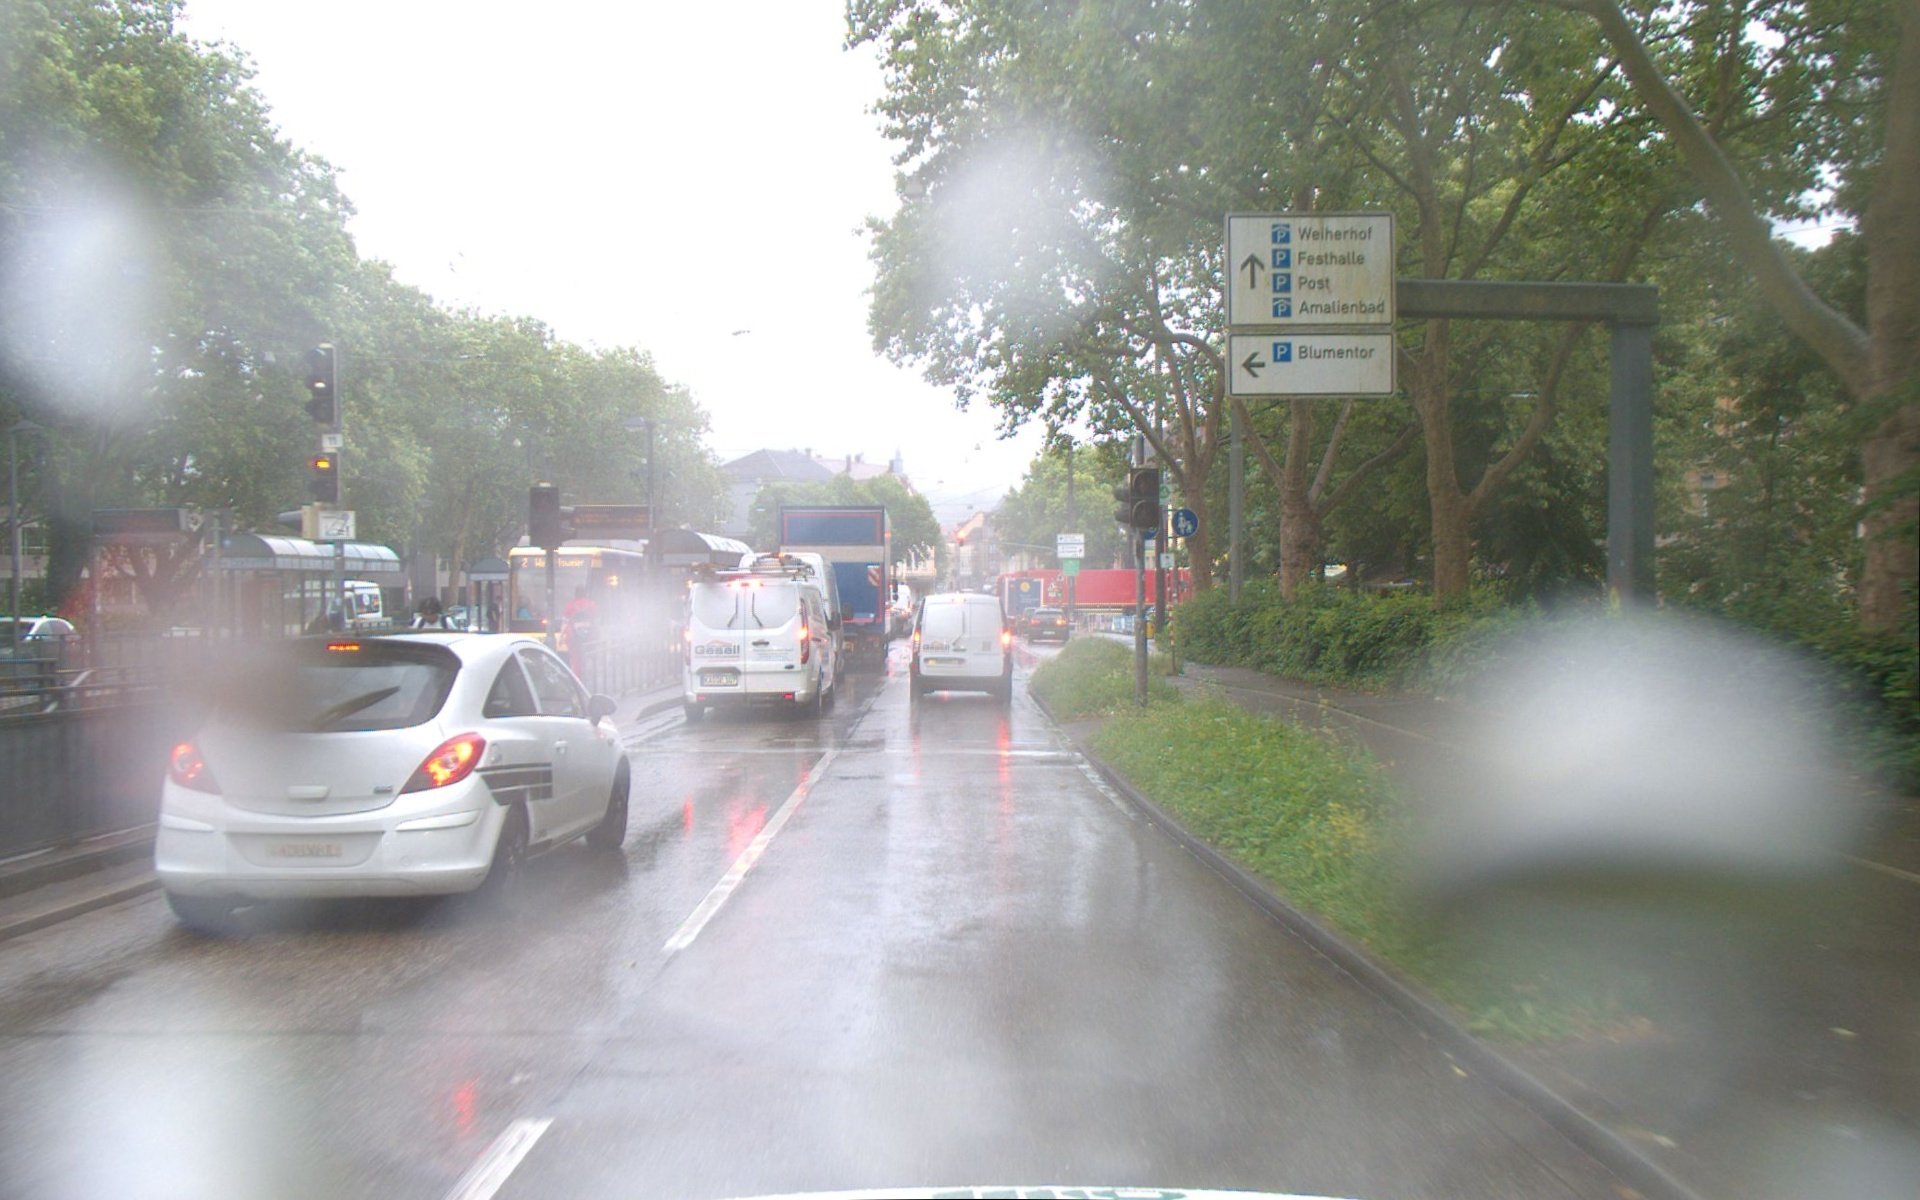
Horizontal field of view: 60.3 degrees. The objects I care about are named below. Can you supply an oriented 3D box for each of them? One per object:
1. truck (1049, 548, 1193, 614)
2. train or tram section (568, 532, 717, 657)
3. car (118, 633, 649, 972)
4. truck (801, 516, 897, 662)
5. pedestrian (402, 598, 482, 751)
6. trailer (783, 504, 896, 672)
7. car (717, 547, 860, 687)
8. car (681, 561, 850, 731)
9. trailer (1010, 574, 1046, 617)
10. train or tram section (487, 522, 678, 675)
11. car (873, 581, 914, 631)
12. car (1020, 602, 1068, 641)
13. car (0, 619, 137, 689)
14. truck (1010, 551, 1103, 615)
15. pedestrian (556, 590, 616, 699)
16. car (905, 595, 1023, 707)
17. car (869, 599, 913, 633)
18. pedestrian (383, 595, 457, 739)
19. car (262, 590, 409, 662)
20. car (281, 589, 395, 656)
[{"bbox_3d":[13.164,-1.556,135.230,11.122,4.985,3.291,-2,1,16],"label":"truck"},{"bbox_3d":[-9.370,-0.212,49.843,2.919,3.343,8.429,-2,1,-1],"label":"train or tram section"},{"bbox_3d":[-2.954,0.949,9.371,1.690,1.505,3.805,0,-1,0],"label":"car"},{"bbox_3d":[-3.095,-0.308,46.951,2.528,3.972,3.999,0,0,-1],"label":"truck"},{"bbox_3d":[-6.123,0.869,19.592,0.701,1.775,0.750,-1,-1,-1],"label":"pedestrian"},{"bbox_3d":[-2.991,-0.299,42.862,2.538,3.968,7.634,0,0,-1],"label":"trailer"},{"bbox_3d":[-3.364,0.363,33.681,2.282,2.602,6.113,0,-1,0],"label":"car"},{"bbox_3d":[-2.819,0.670,25.153,1.953,2.302,5.288,0,-1,0],"label":"car"},{"bbox_3d":[3.920,-0.245,94.715,1.951,2.357,4.670,0,-1,4],"label":"trailer"},{"bbox_3d":[-9.214,-0.095,41.443,2.901,3.343,8.359,-2,1,-1],"label":"train or tram section"},{"bbox_3d":[-3.409,0.334,85.516,1.953,2.485,4.611,1,0,-1],"label":"car"},{"bbox_3d":[3.574,0.887,69.883,1.952,1.569,4.002,-1,0,4],"label":"car"},{"bbox_3d":[-22.164,1.285,40.568,1.894,1.544,4.000,-2,0,0],"label":"car"},{"bbox_3d":[8.012,-1.393,136.692,7.005,4.985,3.291,-2,1,16],"label":"truck"},{"bbox_3d":[-6.141,0.729,27.188,0.774,1.744,0.770,1,-2,-1],"label":"pedestrian"},{"bbox_3d":[0.051,0.856,28.708,1.919,1.808,3.569,0,-1,0],"label":"car"},{"bbox_3d":[-3.322,0.760,79.994,1.953,1.606,4.291,1,0,-1],"label":"car"},{"bbox_3d":[-6.808,0.832,20.874,0.663,1.769,0.807,-1,-1,-1],"label":"pedestrian"},{"bbox_3d":[-18.891,0.760,50.397,2.139,2.049,6.114,-1,0,0],"label":"car"},{"bbox_3d":[-22.097,0.746,59.004,1.952,2.262,5.225,-1,0,2],"label":"car"}]
